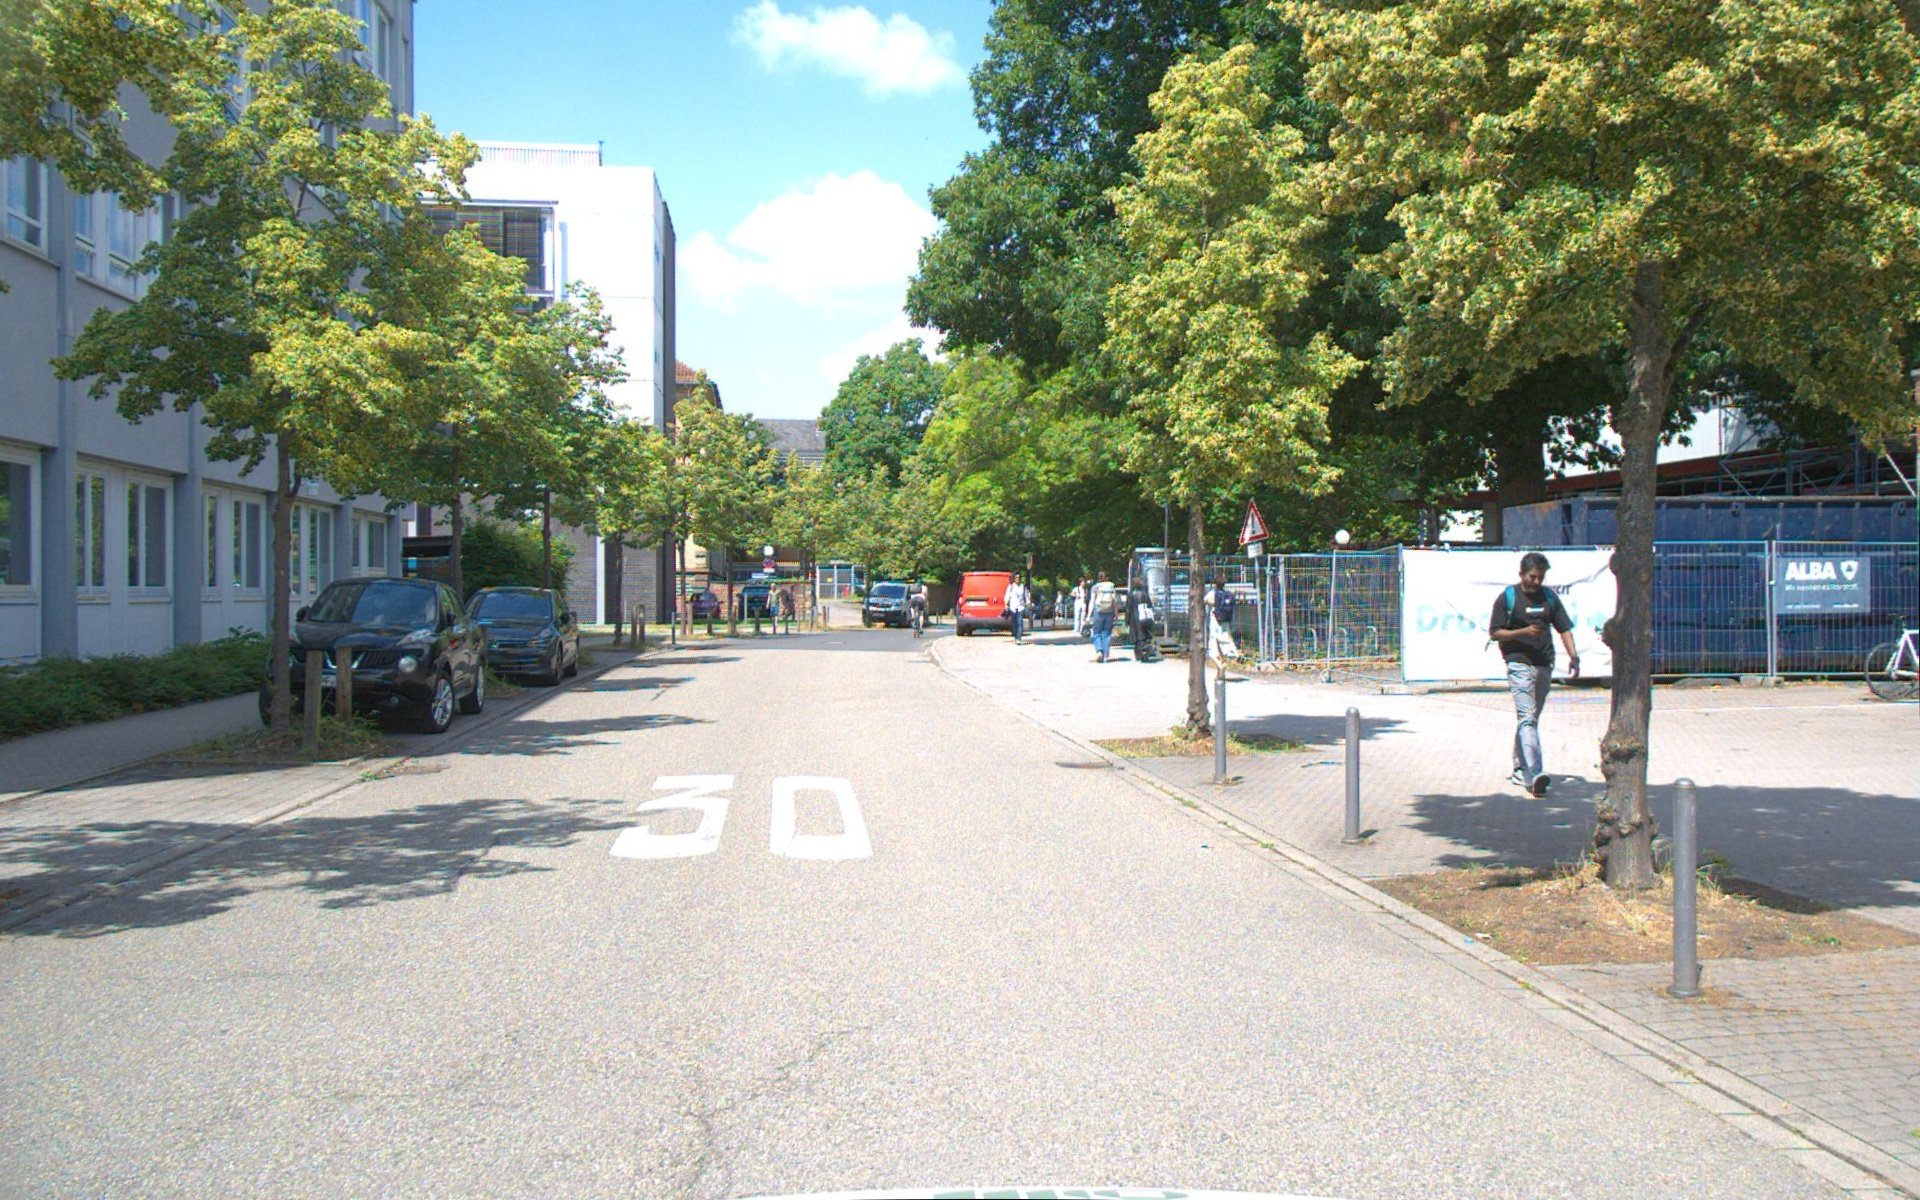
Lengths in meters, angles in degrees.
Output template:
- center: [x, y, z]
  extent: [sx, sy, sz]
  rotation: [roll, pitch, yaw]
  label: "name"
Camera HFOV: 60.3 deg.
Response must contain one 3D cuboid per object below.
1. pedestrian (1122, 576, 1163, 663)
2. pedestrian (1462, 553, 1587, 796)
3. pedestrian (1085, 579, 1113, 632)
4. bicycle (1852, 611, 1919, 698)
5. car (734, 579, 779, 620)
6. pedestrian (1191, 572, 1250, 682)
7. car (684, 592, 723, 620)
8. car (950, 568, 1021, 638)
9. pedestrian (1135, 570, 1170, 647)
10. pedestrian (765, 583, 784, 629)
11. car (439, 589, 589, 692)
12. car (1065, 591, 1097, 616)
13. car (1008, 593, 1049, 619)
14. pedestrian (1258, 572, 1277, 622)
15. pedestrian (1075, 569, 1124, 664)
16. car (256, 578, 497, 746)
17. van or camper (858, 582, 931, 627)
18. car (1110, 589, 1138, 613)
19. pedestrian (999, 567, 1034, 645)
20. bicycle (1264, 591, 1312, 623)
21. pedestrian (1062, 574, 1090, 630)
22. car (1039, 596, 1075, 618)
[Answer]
- center: [3.477, 0.370, 31.527]
  extent: [0.655, 1.628, 0.985]
  rotation: [-1, 0, 0]
  label: "pedestrian"
- center: [4.137, 0.528, 12.173]
  extent: [0.628, 1.726, 0.792]
  rotation: [0, 0, -2]
  label: "pedestrian"
- center: [4.616, 0.191, 55.012]
  extent: [0.739, 1.740, 0.555]
  rotation: [0, 0, -42]
  label: "pedestrian"
- center: [11.680, 0.648, 19.971]
  extent: [1.639, 1.021, 0.447]
  rotation: [0, 0, -6]
  label: "bicycle"
- center: [-10.141, -0.029, 82.140]
  extent: [2.134, 1.959, 5.176]
  rotation: [0, 0, -8]
  label: "car"
- center: [4.094, 0.418, 26.033]
  extent: [0.637, 1.695, 0.902]
  rotation: [-1, 0, -11]
  label: "pedestrian"
- center: [-12.651, 0.299, 81.810]
  extent: [1.783, 1.347, 3.762]
  rotation: [0, 0, -7]
  label: "car"
- center: [0.802, 0.068, 48.239]
  extent: [1.809, 1.924, 4.892]
  rotation: [-1, 0, 3]
  label: "car"
- center: [4.240, 0.186, 36.495]
  extent: [0.698, 1.660, 0.711]
  rotation: [0, 0, 1]
  label: "pedestrian"
- center: [-7.365, 0.248, 65.565]
  extent: [0.571, 1.795, 0.912]
  rotation: [0, 0, 5]
  label: "pedestrian"
- center: [-6.977, 0.584, 26.241]
  extent: [1.744, 1.486, 4.251]
  rotation: [1, 0, -8]
  label: "car"
- center: [8.531, 0.246, 116.188]
  extent: [1.581, 1.708, 4.003]
  rotation: [0, 0, 14]
  label: "car"
- center: [4.177, 0.348, 100.441]
  extent: [1.722, 1.548, 4.115]
  rotation: [0, 0, 14]
  label: "car"
- center: [11.545, -0.108, 62.093]
  extent: [0.532, 1.869, 0.762]
  rotation: [0, 0, 0]
  label: "pedestrian"
- center: [2.670, 0.314, 31.691]
  extent: [0.833, 1.795, 0.715]
  rotation: [-1, 0, -3]
  label: "pedestrian"
- center: [-6.163, 0.580, 17.904]
  extent: [1.665, 1.591, 4.060]
  rotation: [0, 0, -8]
  label: "car"
- center: [-2.902, 0.193, 74.687]
  extent: [1.912, 1.957, 5.424]
  rotation: [1, 0, 14]
  label: "van or camper"
- center: [12.995, 0.062, 130.857]
  extent: [1.581, 1.847, 4.003]
  rotation: [0, 0, 14]
  label: "car"
- center: [1.328, 0.140, 38.842]
  extent: [0.680, 1.812, 0.787]
  rotation: [-1, 0, 10]
  label: "pedestrian"
- center: [10.337, 0.223, 52.249]
  extent: [0.506, 0.973, 1.794]
  rotation: [-2, 0, -25]
  label: "bicycle"
- center: [3.905, 0.070, 55.855]
  extent: [0.717, 1.853, 0.620]
  rotation: [0, 0, -42]
  label: "pedestrian"
- center: [6.322, 0.448, 107.779]
  extent: [1.581, 1.412, 4.003]
  rotation: [0, 0, 14]
  label: "car"
